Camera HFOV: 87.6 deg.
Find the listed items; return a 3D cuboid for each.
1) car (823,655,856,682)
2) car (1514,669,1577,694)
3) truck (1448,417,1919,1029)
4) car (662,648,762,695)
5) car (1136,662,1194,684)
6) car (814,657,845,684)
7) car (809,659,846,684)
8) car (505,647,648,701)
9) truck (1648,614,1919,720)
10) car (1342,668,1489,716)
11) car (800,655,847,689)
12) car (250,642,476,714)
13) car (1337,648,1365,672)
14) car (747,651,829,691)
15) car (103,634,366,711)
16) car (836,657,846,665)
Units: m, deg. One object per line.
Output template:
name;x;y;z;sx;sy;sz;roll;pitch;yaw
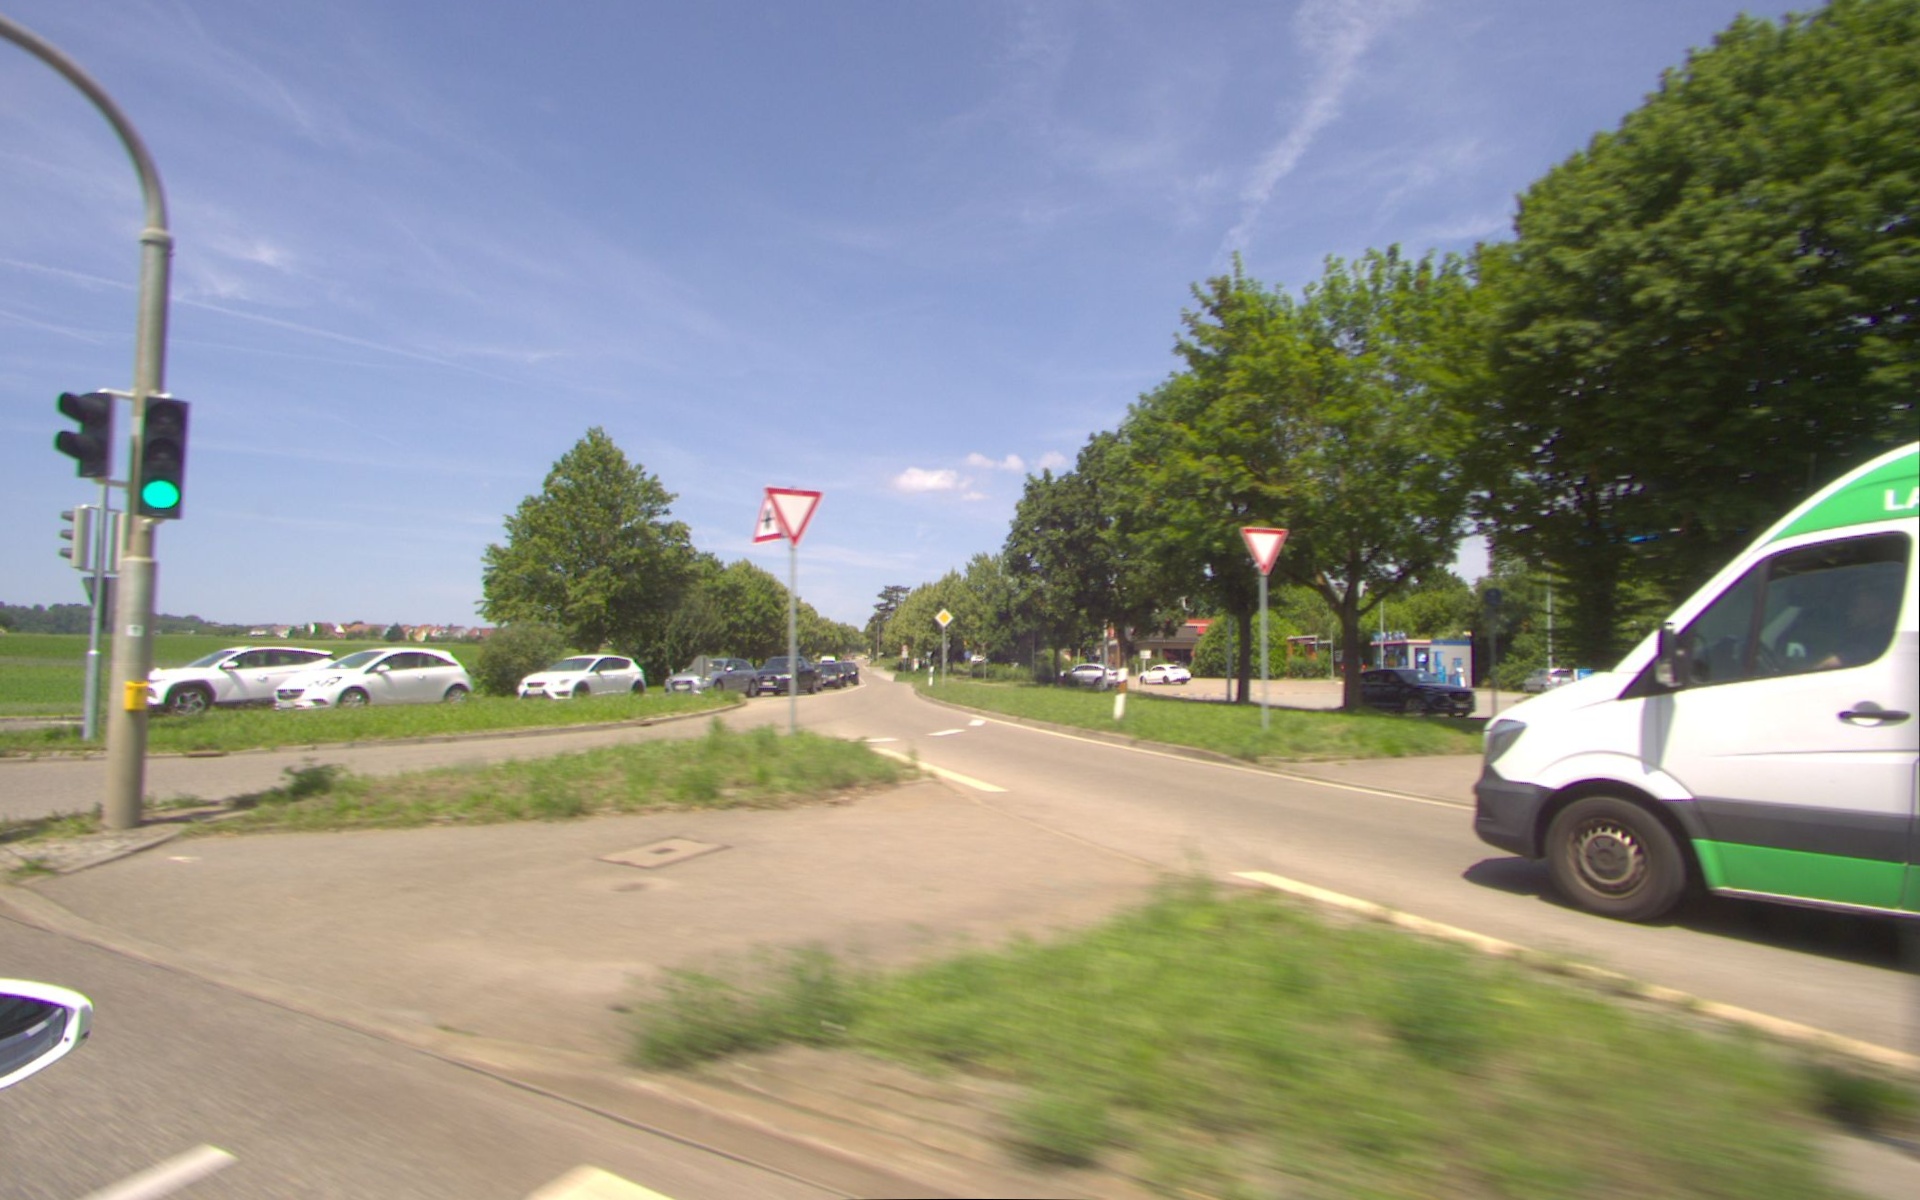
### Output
car;-7.983;4.560;66.658;1.961;1.718;4.295;0;-3;-5
car;34.694;4.805;59.448;1.694;1.397;3.845;0;-3;4
truck;5.657;0.559;4.537;2.050;2.770;5.900;3;-4;-37
car;-8.636;2.511;35.260;1.766;1.528;4.566;-1;-4;9
car;15.176;5.421;74.240;1.849;1.578;4.486;1;-4;-27
car;-7.837;4.239;60.152;1.766;1.528;4.235;0;-4;-8
car;-7.174;3.880;54.605;1.766;1.288;4.566;0;-4;-5
car;-10.857;2.081;28.688;1.768;1.436;4.104;-2;-3;15
truck;23.299;1.864;28.158;2.234;2.650;6.113;2;-4;-34
car;14.326;2.857;31.788;1.730;1.379;4.314;0;-4;-19
car;-6.590;3.479;48.697;1.766;1.528;4.567;-1;-4;-1
car;-13.023;1.686;22.120;1.799;1.436;3.962;-2;-4;25
car;31.700;4.809;81.083;1.810;1.861;3.988;-1;-3;26
car;-6.993;2.938;41.120;1.767;1.527;4.565;-1;-5;12
car;-16.885;1.709;23.592;1.969;1.626;4.625;-3;-5;29
car;-24.809;12.716;209.149;1.962;1.669;4.002;0;-4;-7
